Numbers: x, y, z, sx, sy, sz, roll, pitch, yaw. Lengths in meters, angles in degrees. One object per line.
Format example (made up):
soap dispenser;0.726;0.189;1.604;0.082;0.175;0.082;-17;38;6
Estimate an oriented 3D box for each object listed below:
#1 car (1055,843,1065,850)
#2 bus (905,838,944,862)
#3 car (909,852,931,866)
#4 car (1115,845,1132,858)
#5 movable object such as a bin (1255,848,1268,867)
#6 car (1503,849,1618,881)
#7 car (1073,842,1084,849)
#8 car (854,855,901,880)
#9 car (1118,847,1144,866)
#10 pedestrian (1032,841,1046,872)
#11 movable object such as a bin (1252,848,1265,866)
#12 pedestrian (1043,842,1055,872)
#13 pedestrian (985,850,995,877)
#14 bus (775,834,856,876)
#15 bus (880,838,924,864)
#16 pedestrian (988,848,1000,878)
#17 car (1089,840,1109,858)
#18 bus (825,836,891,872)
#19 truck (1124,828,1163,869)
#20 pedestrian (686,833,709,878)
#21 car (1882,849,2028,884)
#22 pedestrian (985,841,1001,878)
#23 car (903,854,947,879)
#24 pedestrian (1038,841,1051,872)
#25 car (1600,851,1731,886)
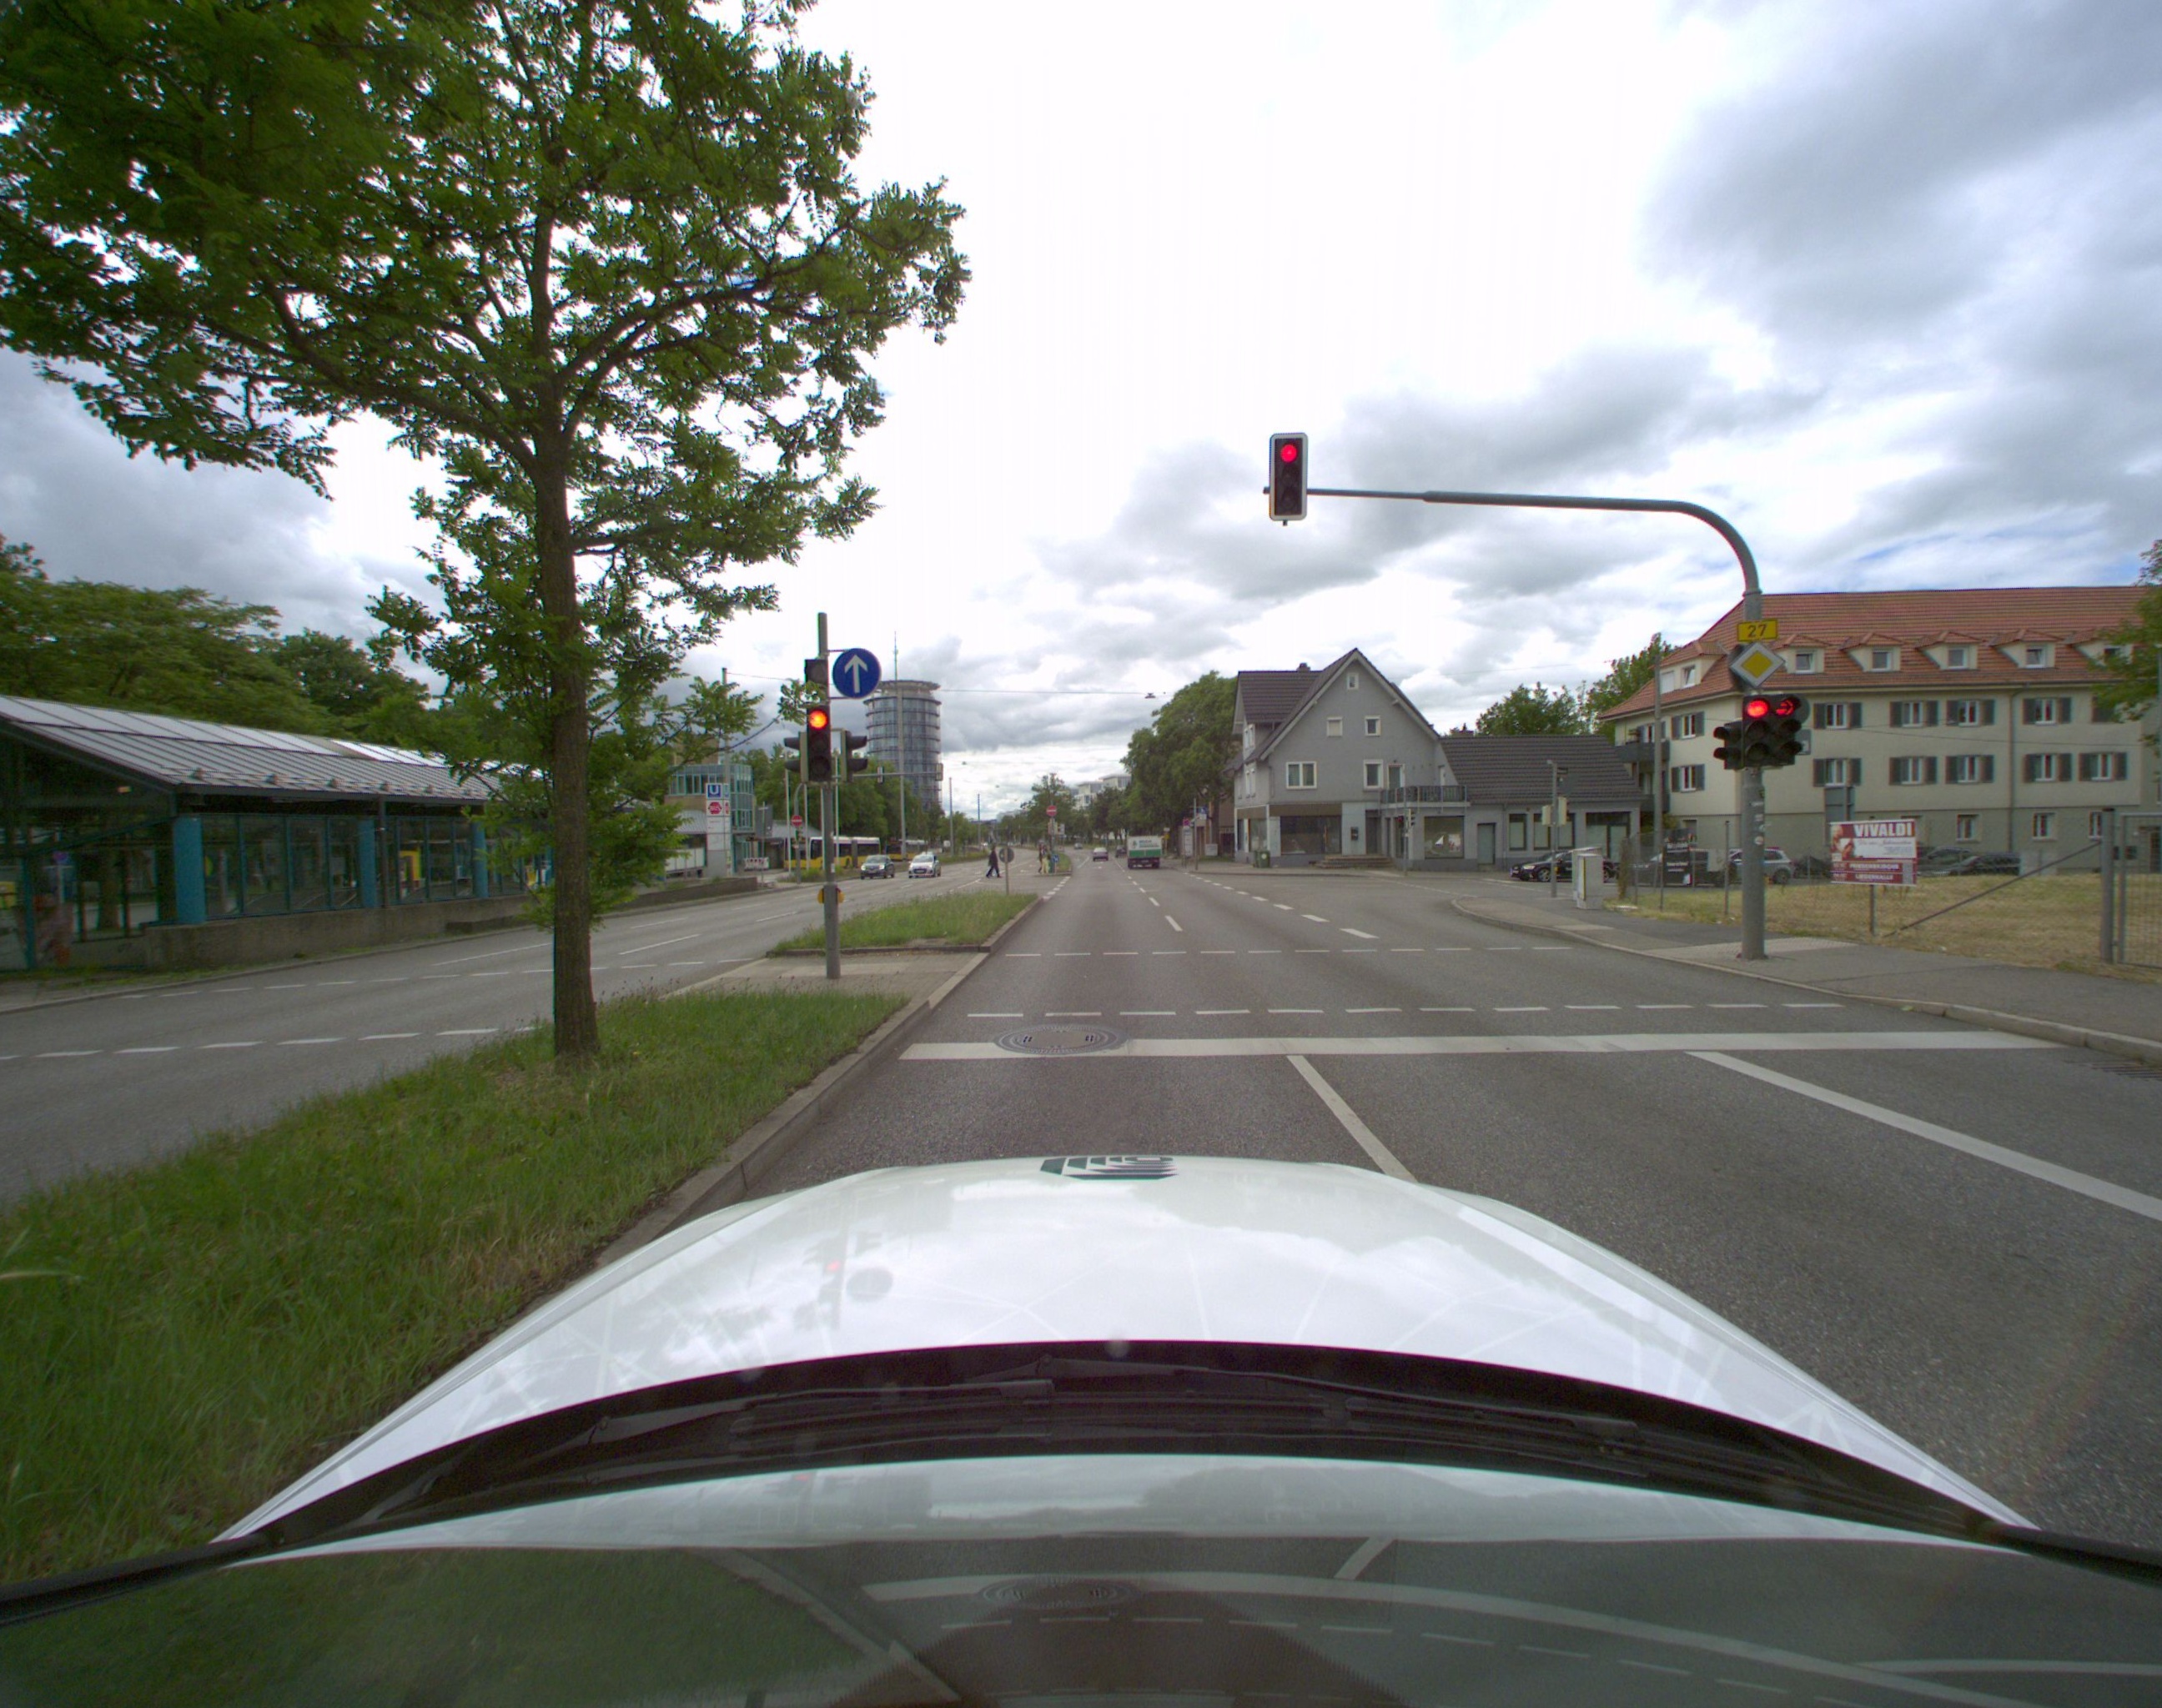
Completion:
car;-4.570;-1.678;178.304;1.988;1.519;3.997;-2;1;-2
bus;-24.392;-0.653;127.402;2.817;3.430;10.751;-2;0;6
car;-20.031;0.585;101.452;1.800;1.662;4.001;-2;0;1
car;5.190;-0.263;99.081;1.986;1.552;4.002;0;0;1
movable object such as a bin;10.108;0.179;45.550;0.602;1.059;0.590;0;0;3
car;21.374;0.467;36.408;4.075;1.371;1.800;0;0;0
car;-0.601;-1.944;192.255;1.992;1.552;3.990;-2;0;-7
car;-13.331;0.835;53.540;1.987;1.486;4.000;-2;0;0
car;4.023;0.184;66.063;1.986;1.552;4.002;0;0;1
pedestrian;-2.378;0.160;46.295;0.744;1.716;0.582;-2;0;-5
movable object such as a bin;10.057;0.175;46.189;0.613;1.043;0.590;0;0;3
pedestrian;-1.849;0.191;47.080;0.582;1.716;0.545;-2;0;-5
pedestrian;-5.130;0.520;45.979;0.542;1.496;0.485;-2;0;-7
bus;-24.136;0.046;74.869;2.817;3.430;10.751;-2;0;6
bus;-25.486;-0.491;116.680;2.817;3.430;10.751;-2;0;6
pedestrian;-4.985;0.510;46.800;0.611;1.716;0.545;-2;0;-5
car;1.952;-0.546;86.276;1.986;1.830;4.002;-2;0;1
bus;-23.086;-0.008;85.044;2.817;3.430;10.751;-2;0;6
truck;4.248;-0.446;56.357;2.461;2.611;6.551;0;1;2
pedestrian;-17.225;0.068;36.577;0.679;2.013;0.645;-2;0;-3
car;35.739;0.486;33.369;4.075;1.371;1.800;0;0;0
pedestrian;-4.886;0.305;45.195;0.828;2.013;0.545;-2;0;-6
car;-10.128;0.757;53.073;1.987;1.486;4.000;-2;0;0
pedestrian;-2.058;0.151;45.786;0.652;1.716;0.451;-2;0;-6
car;23.647;0.580;33.052;4.075;1.371;1.800;0;0;0
